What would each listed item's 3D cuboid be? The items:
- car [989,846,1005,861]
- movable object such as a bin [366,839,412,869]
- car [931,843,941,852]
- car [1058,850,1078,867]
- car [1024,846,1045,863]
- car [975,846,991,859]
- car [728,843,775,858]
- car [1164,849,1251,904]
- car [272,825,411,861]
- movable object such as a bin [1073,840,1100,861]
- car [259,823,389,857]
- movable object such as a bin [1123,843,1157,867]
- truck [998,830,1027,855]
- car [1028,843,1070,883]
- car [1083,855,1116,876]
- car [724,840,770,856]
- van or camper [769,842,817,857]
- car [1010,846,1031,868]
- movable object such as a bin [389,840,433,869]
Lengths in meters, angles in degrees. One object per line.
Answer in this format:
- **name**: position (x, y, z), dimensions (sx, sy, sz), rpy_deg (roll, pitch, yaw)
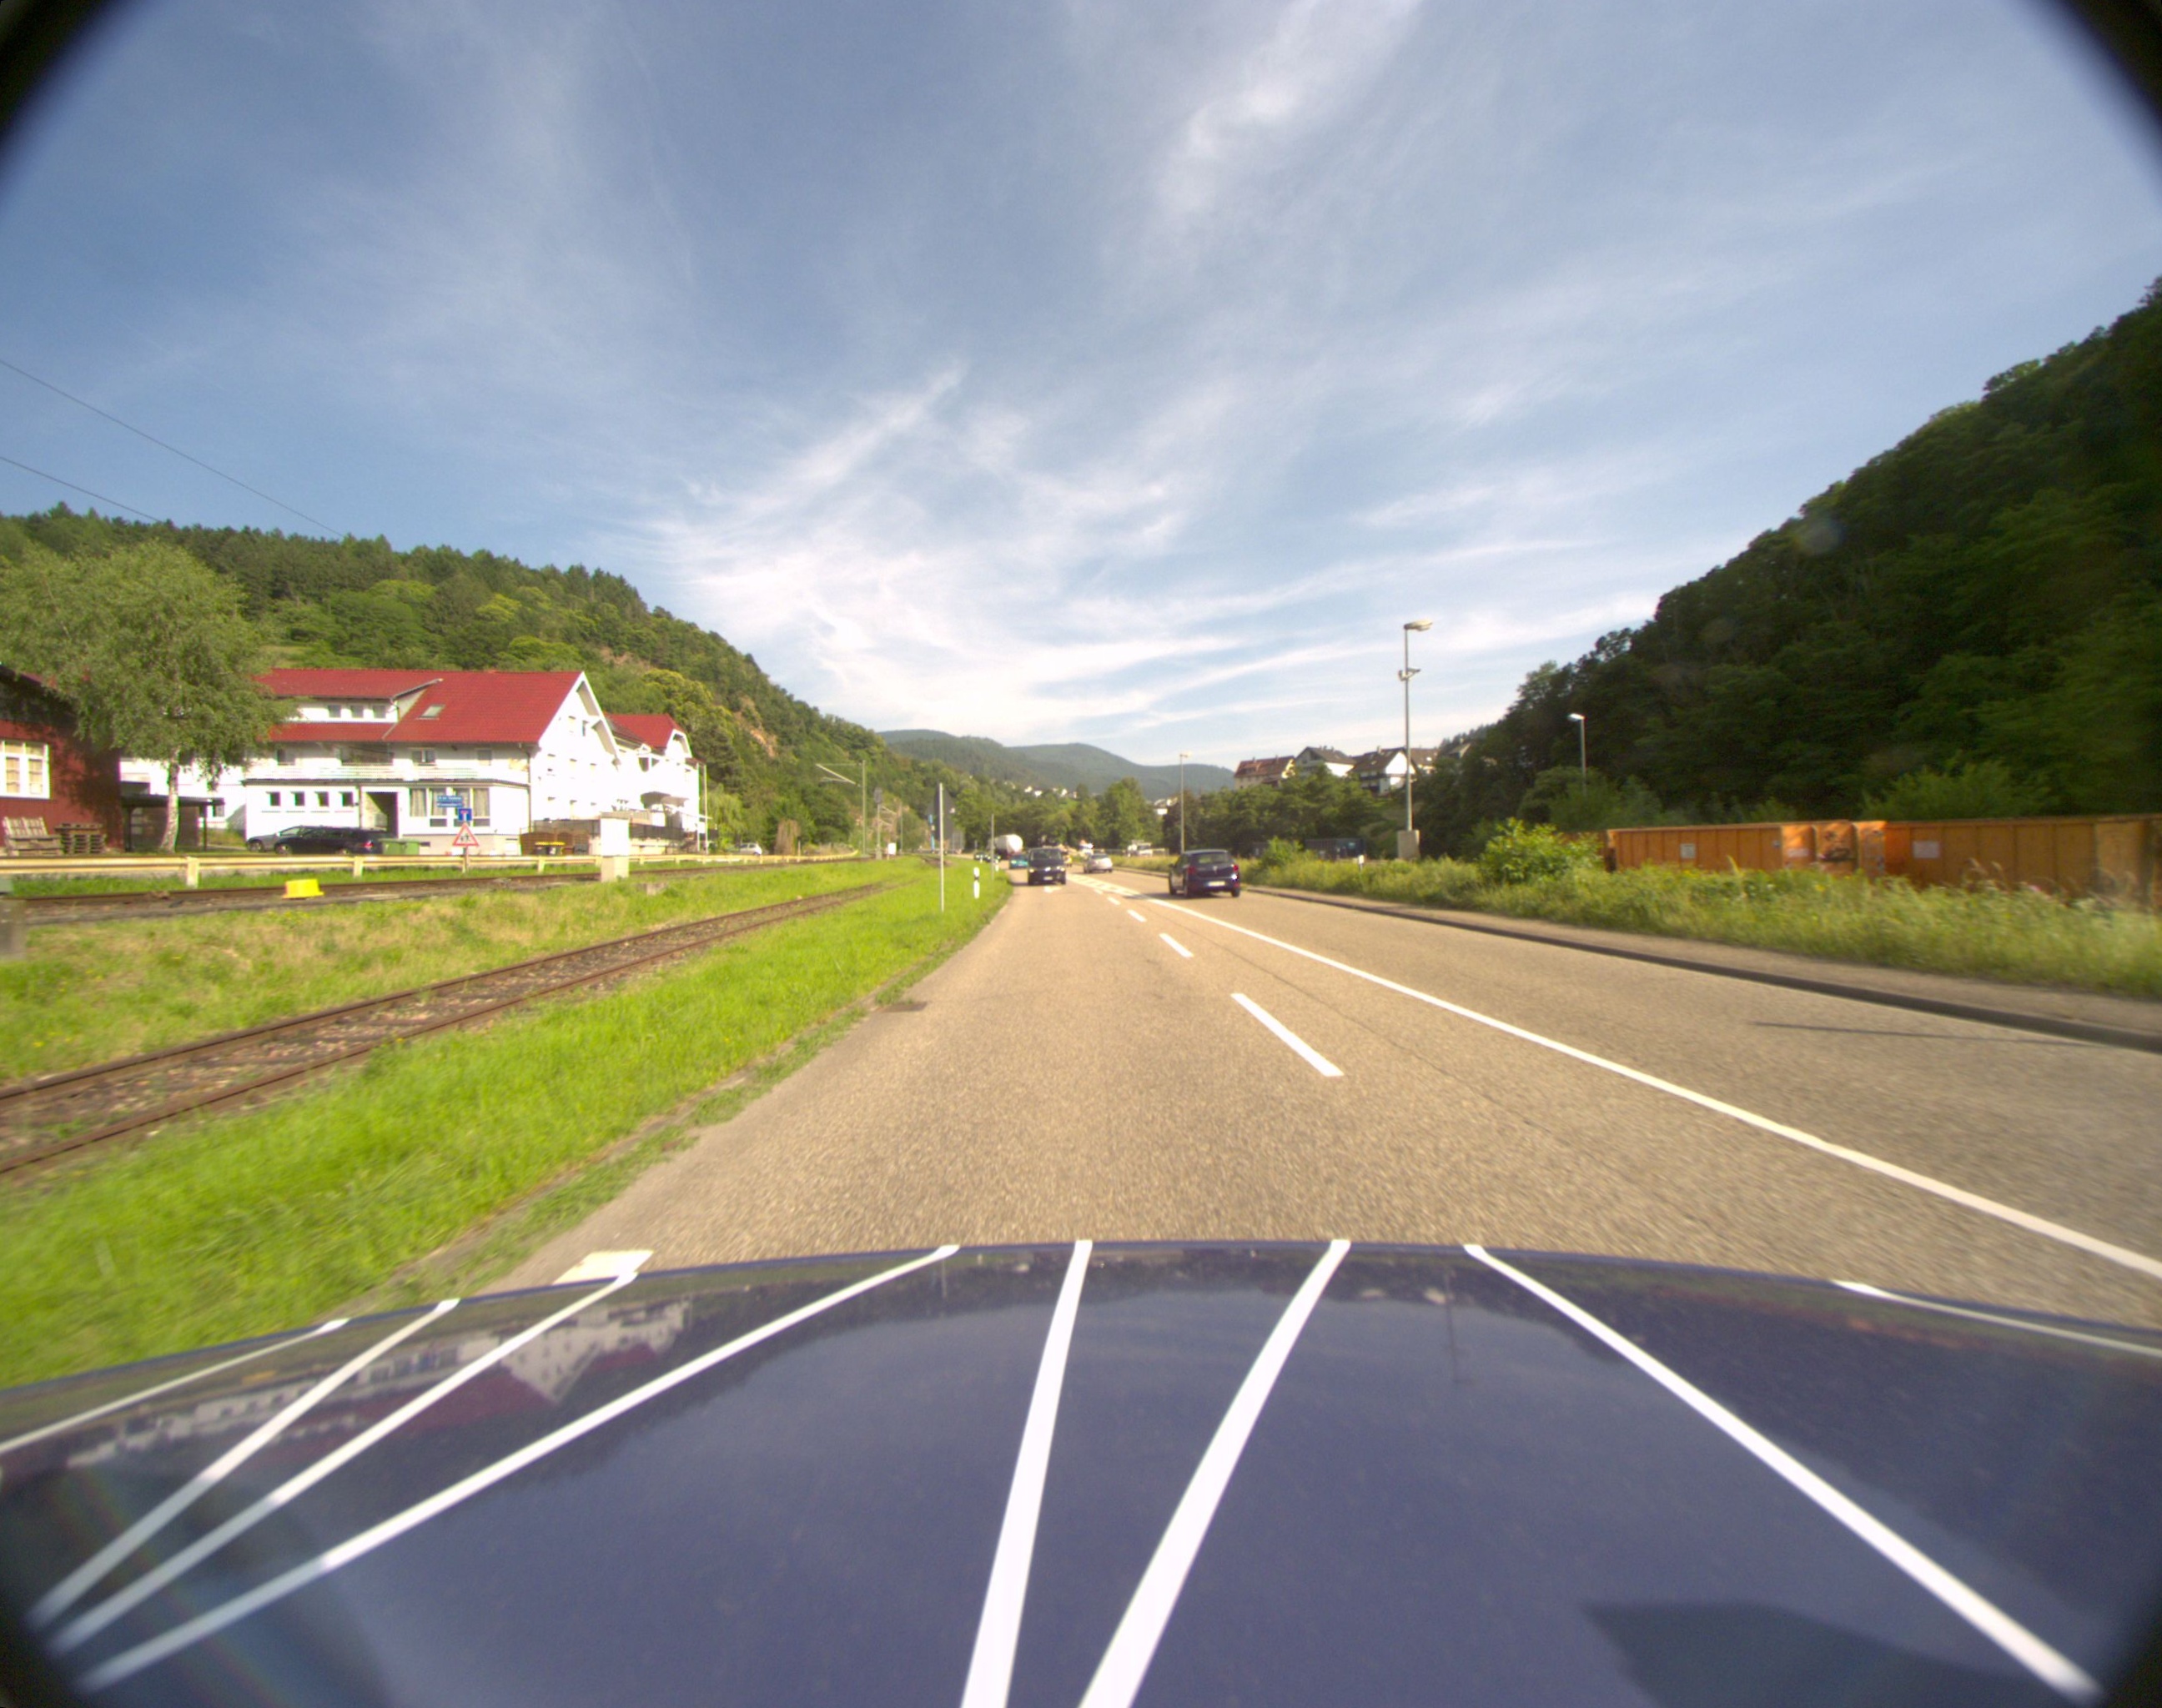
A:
- **car**: position (-12.190, -0.062, 109.599), dimensions (2.000, 2.002, 3.996), rpy_deg (1, 0, -10)
- **movable object such as a bin**: position (-25.277, 0.017, 27.775), dimensions (0.810, 1.044, 0.911), rpy_deg (-3, 0, -3)
- **car**: position (-35.412, -1.566, 185.935), dimensions (2.001, 2.002, 3.994), rpy_deg (1, 0, -15)
- **car**: position (-1.306, 0.437, 75.903), dimensions (1.729, 1.615, 3.794), rpy_deg (-2, 0, -4)
- **car**: position (-5.979, 0.050, 96.652), dimensions (2.001, 2.002, 3.995), rpy_deg (1, 0, -13)
- **car**: position (-16.558, -0.234, 128.177), dimensions (2.001, 2.002, 3.994), rpy_deg (1, 0, -16)
- **car**: position (-35.277, -0.396, 81.488), dimensions (4.328, 1.521, 1.998), rpy_deg (1, -1, -12)
- **car**: position (4.020, 0.681, 24.790), dimensions (1.852, 1.575, 4.315), rpy_deg (-2, 0, -3)
- **car**: position (-30.923, -0.439, 31.870), dimensions (3.997, 1.368, 1.825), rpy_deg (2, 0, -1)
- **movable object such as a bin**: position (1.055, -0.699, 146.527), dimensions (2.733, 3.924, 7.216), rpy_deg (1, 0, -20)
- **car**: position (-34.515, -0.611, 34.732), dimensions (3.998, 1.368, 1.825), rpy_deg (2, 0, -3)
- **movable object such as a bin**: position (10.188, 0.112, 131.834), dimensions (2.910, 3.924, 7.794), rpy_deg (1, 0, -20)
- **truck**: position (-11.318, -1.749, 124.392), dimensions (2.760, 3.813, 14.544), rpy_deg (-2, 1, -13)
- **car**: position (-1.609, 0.487, 39.670), dimensions (1.998, 2.001, 4.001), rpy_deg (0, -1, 0)
- **car**: position (1.301, 0.801, 55.402), dimensions (1.783, 1.340, 4.508), rpy_deg (-3, 0, -5)
- **car**: position (-34.679, -0.631, 78.975), dimensions (4.001, 1.521, 1.998), rpy_deg (1, -1, -12)
- **van or camper**: position (-37.332, -0.573, 98.617), dimensions (5.434, 1.918, 2.119), rpy_deg (1, 0, -6)
- **car**: position (-5.943, 0.281, 75.095), dimensions (1.999, 2.002, 3.998), rpy_deg (1, 0, -4)
- **movable object such as a bin**: position (-25.345, 0.019, 28.769), dimensions (0.810, 1.044, 0.911), rpy_deg (-3, 0, -3)
